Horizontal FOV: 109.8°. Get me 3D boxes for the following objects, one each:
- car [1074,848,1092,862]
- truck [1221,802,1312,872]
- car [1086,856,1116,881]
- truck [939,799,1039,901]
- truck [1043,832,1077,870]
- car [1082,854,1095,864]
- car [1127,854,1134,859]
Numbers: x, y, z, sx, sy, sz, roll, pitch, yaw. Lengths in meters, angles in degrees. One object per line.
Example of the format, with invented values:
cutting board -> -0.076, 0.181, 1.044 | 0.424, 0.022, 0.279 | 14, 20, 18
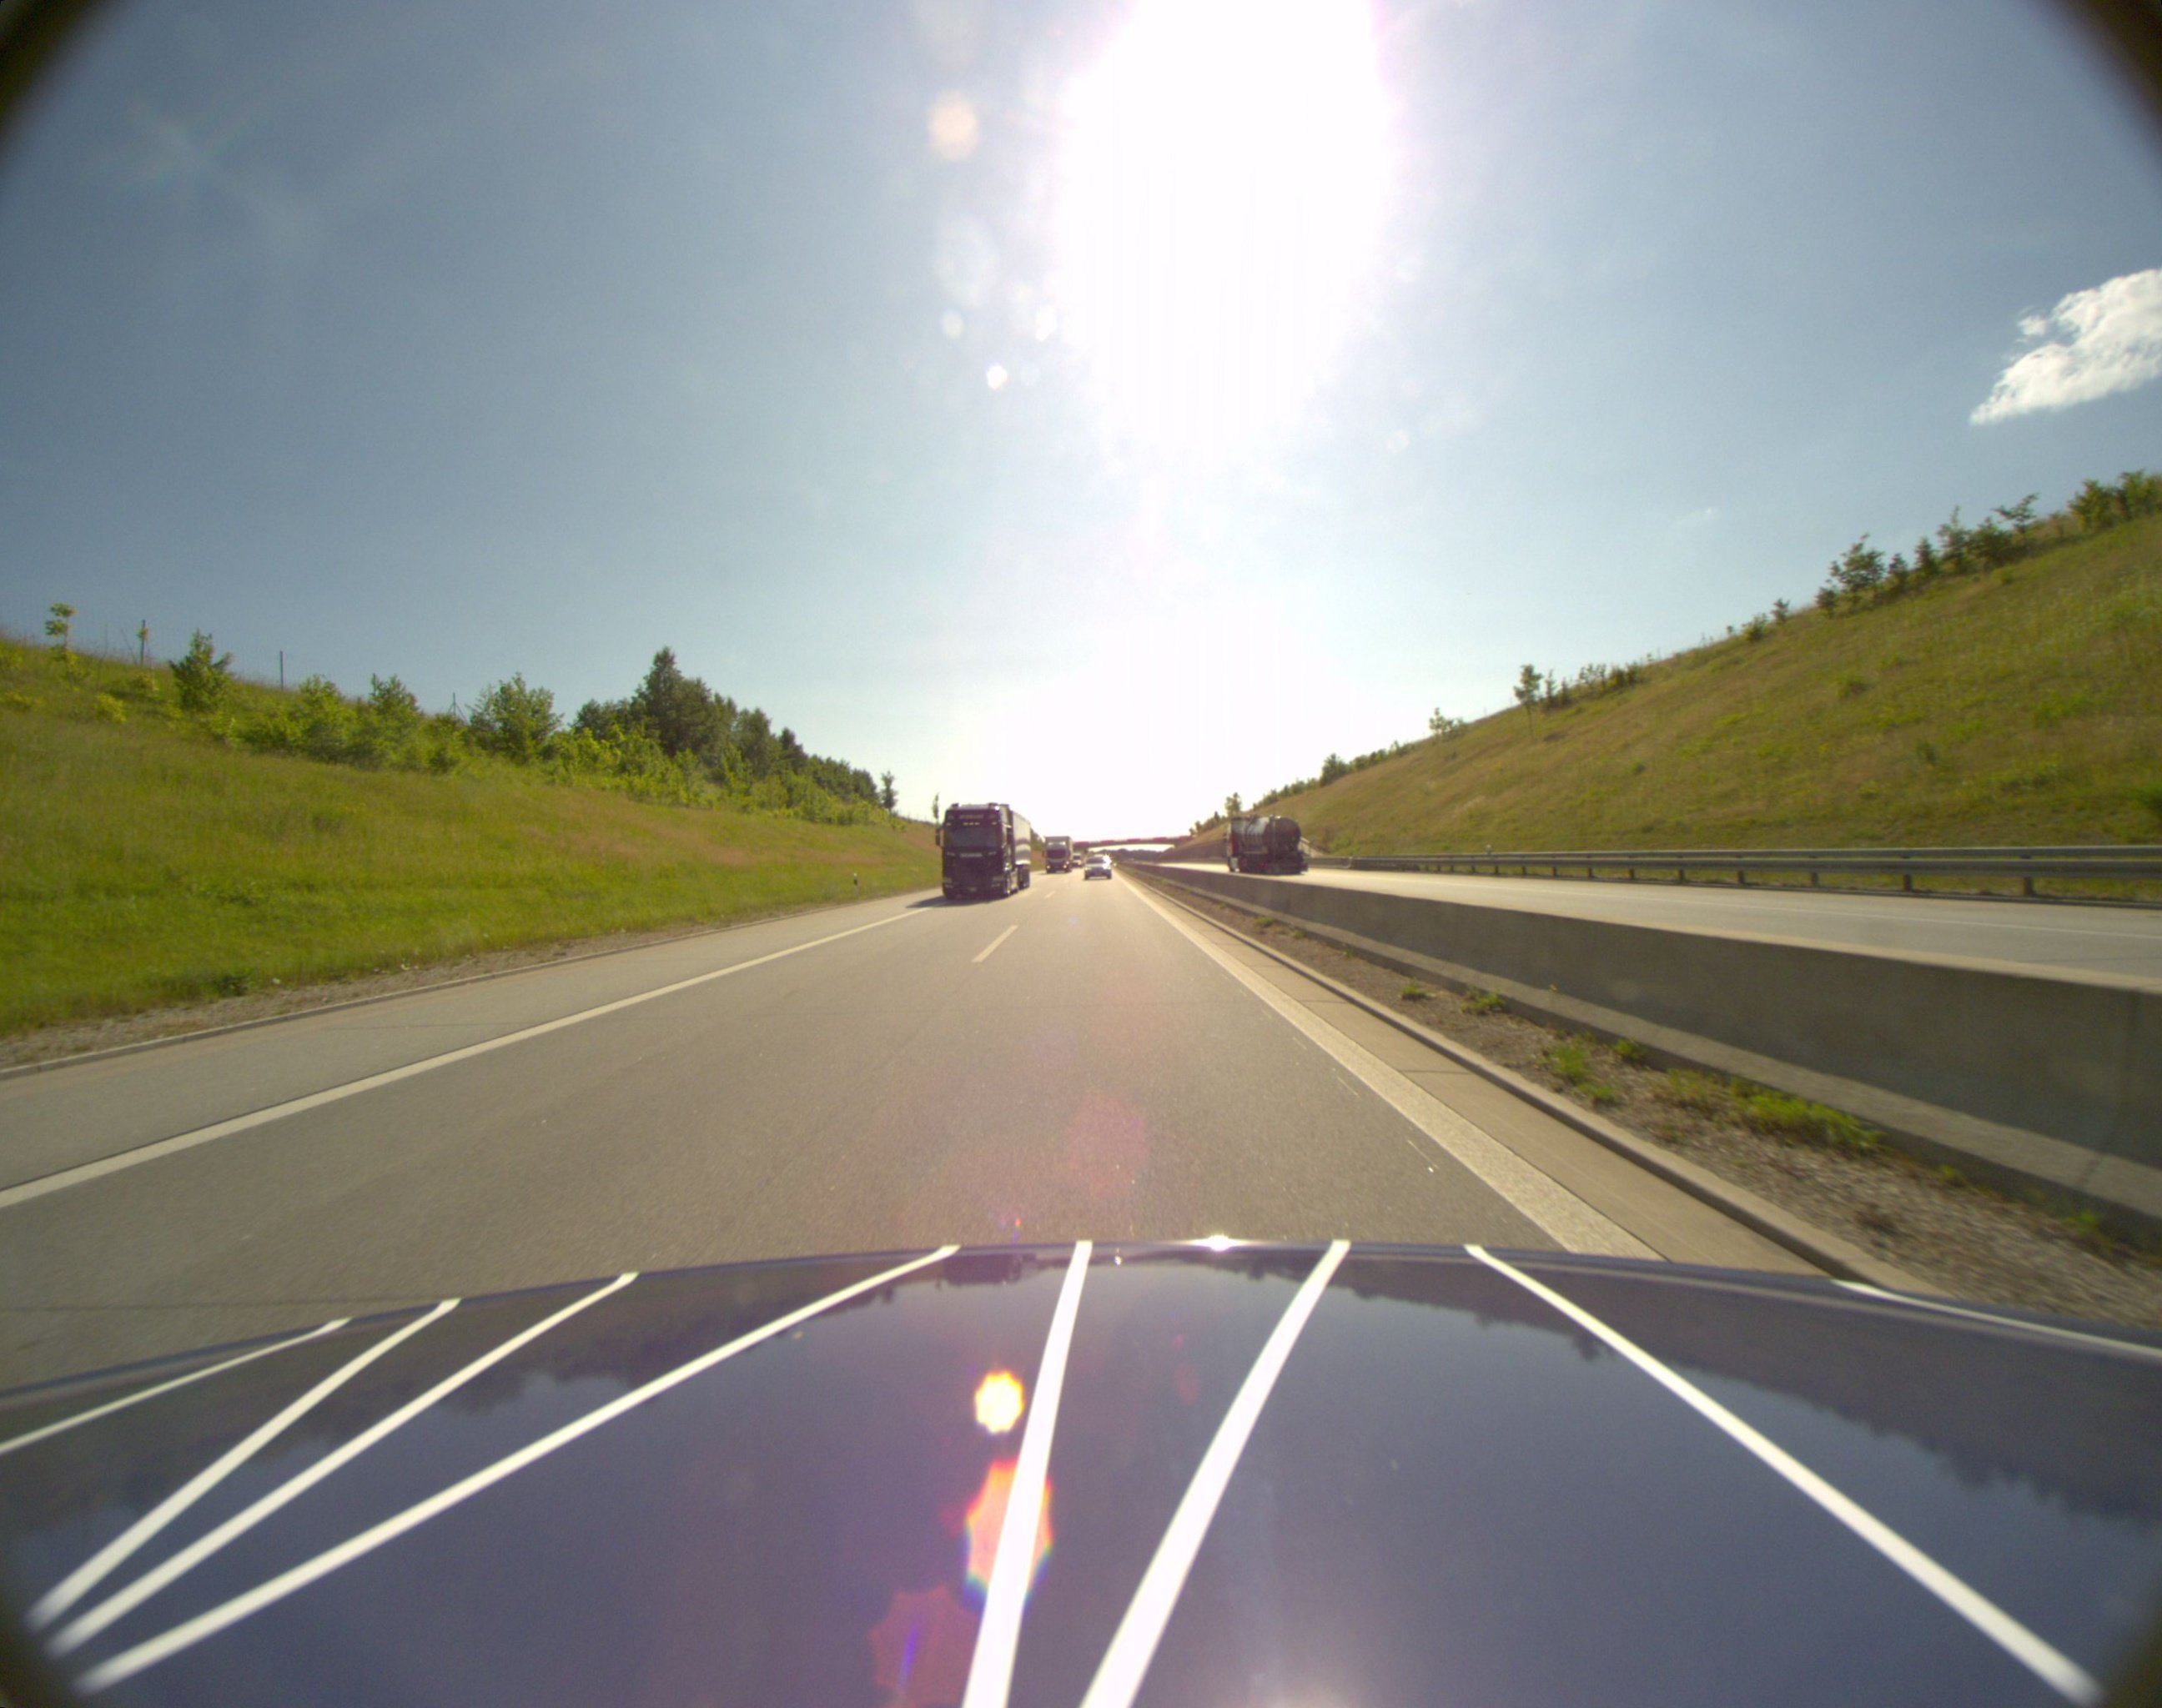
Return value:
car -> 0.266, 0.109, 123.418 | 2.816, 2.143, 5.946 | -2, 0, -1
truck -> 11.743, -1.012, 49.639 | 2.763, 3.918, 12.446 | -2, 0, 0
car -> 1.408, 0.944, 52.300 | 1.795, 1.501, 3.636 | -4, 0, 4
truck -> -3.859, -0.210, 35.512 | 2.623, 3.795, 13.403 | -2, 0, 1
truck -> -2.186, -0.380, 85.607 | 3.025, 3.795, 13.403 | -2, 0, 1
car -> 1.717, 1.135, 175.179 | 2.816, 2.143, 5.946 | -2, 0, -1
car -> 15.786, 0.675, 241.830 | 1.858, 1.453, 4.727 | -2, 0, 0
